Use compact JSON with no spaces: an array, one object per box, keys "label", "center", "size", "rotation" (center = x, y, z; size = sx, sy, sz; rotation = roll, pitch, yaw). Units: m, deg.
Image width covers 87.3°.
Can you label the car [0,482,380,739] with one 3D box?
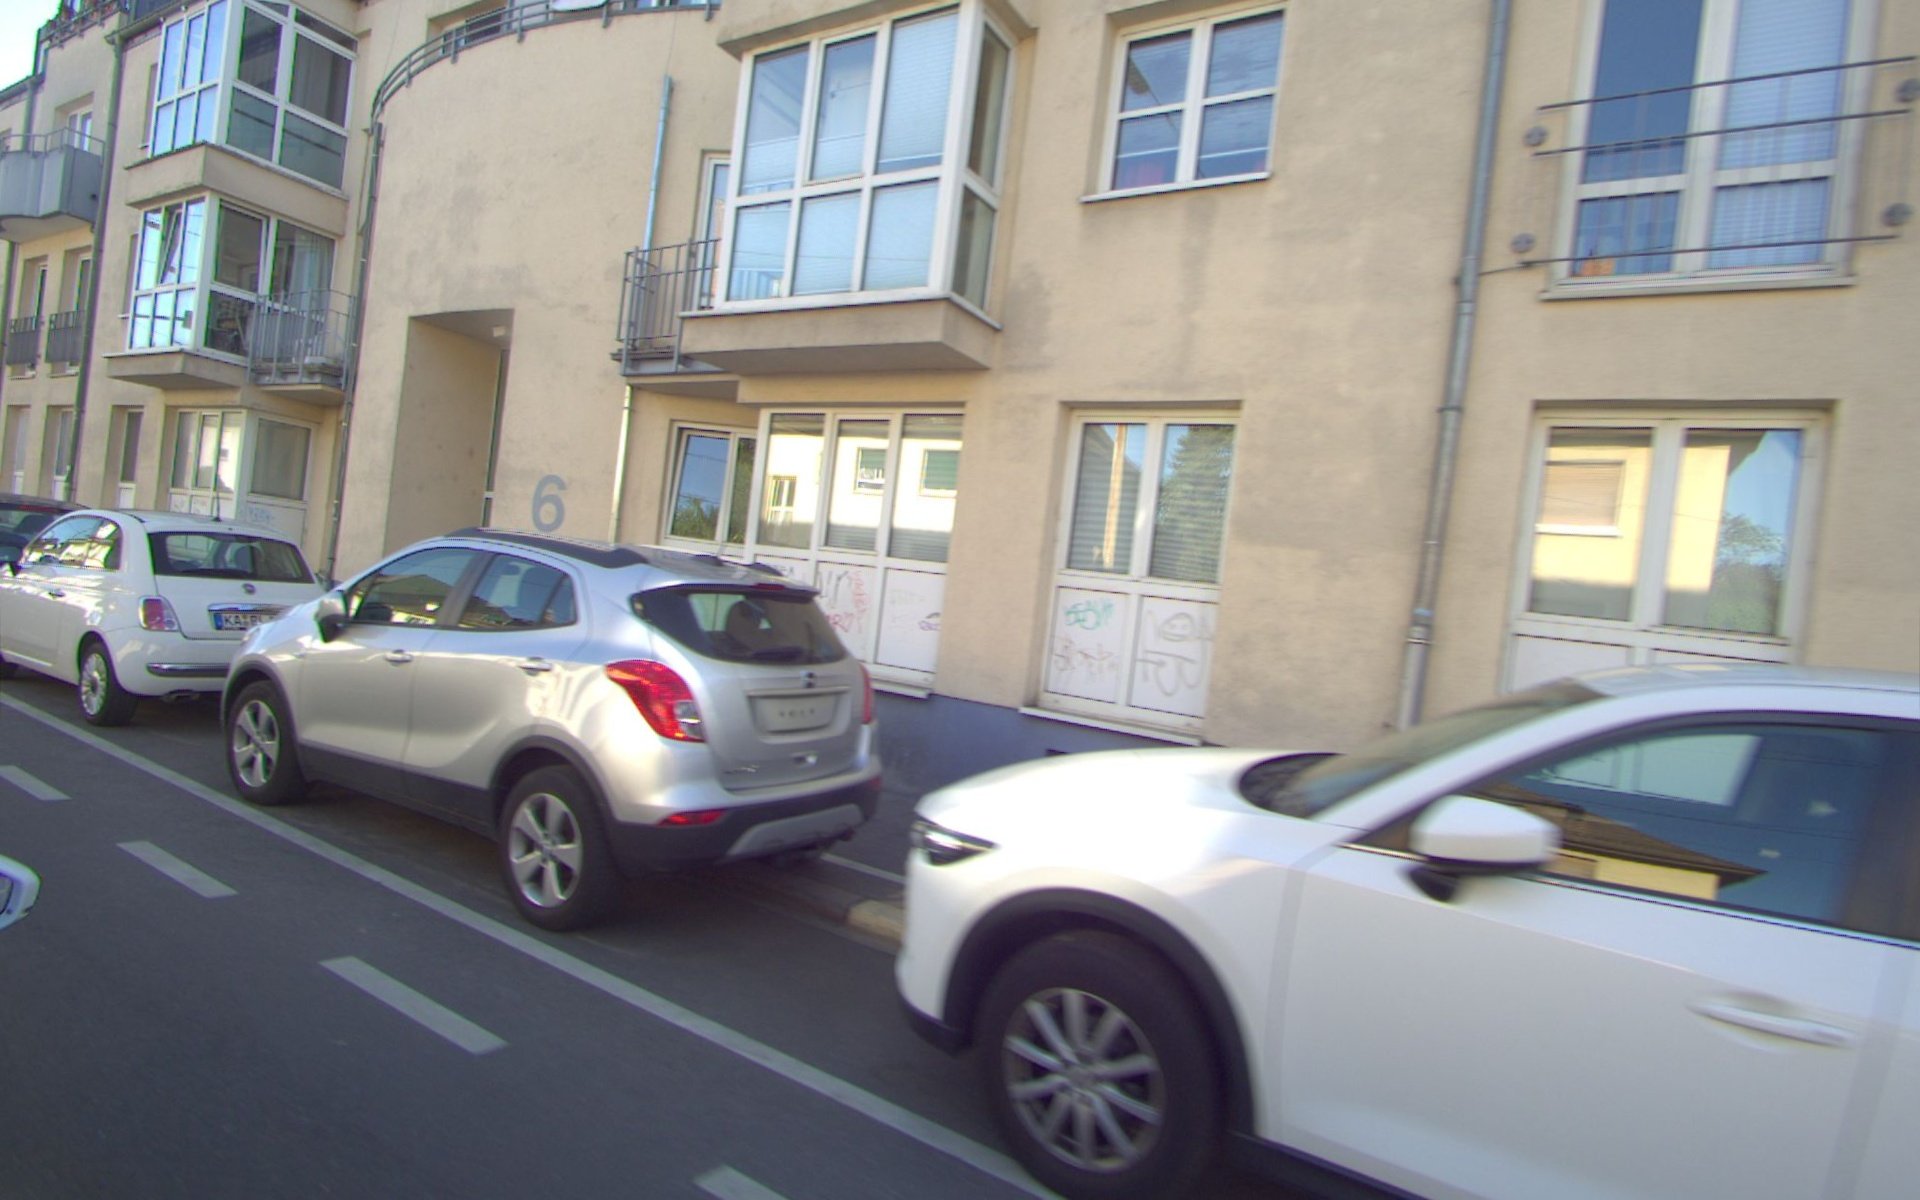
[{"label":"car","center":[-6.409,0.036,8.057],"size":[3.308,1.575,1.500],"rotation":[7,-2,31]}]

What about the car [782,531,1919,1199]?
[{"label":"car","center":[1.759,0.959,2.810],"size":[4.185,1.766,1.743],"rotation":[7,-2,32]}]

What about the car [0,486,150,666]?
[{"label":"car","center":[-10.092,-0.388,10.291],"size":[3.591,1.575,1.557],"rotation":[7,-2,31]}]

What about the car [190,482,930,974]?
[{"label":"car","center":[-2.324,0.444,5.521],"size":[3.924,1.719,1.605],"rotation":[7,-2,32]}]

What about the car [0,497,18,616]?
[{"label":"car","center":[-14.346,-0.843,13.248],"size":[4.103,1.508,1.681],"rotation":[7,-2,31]}]
